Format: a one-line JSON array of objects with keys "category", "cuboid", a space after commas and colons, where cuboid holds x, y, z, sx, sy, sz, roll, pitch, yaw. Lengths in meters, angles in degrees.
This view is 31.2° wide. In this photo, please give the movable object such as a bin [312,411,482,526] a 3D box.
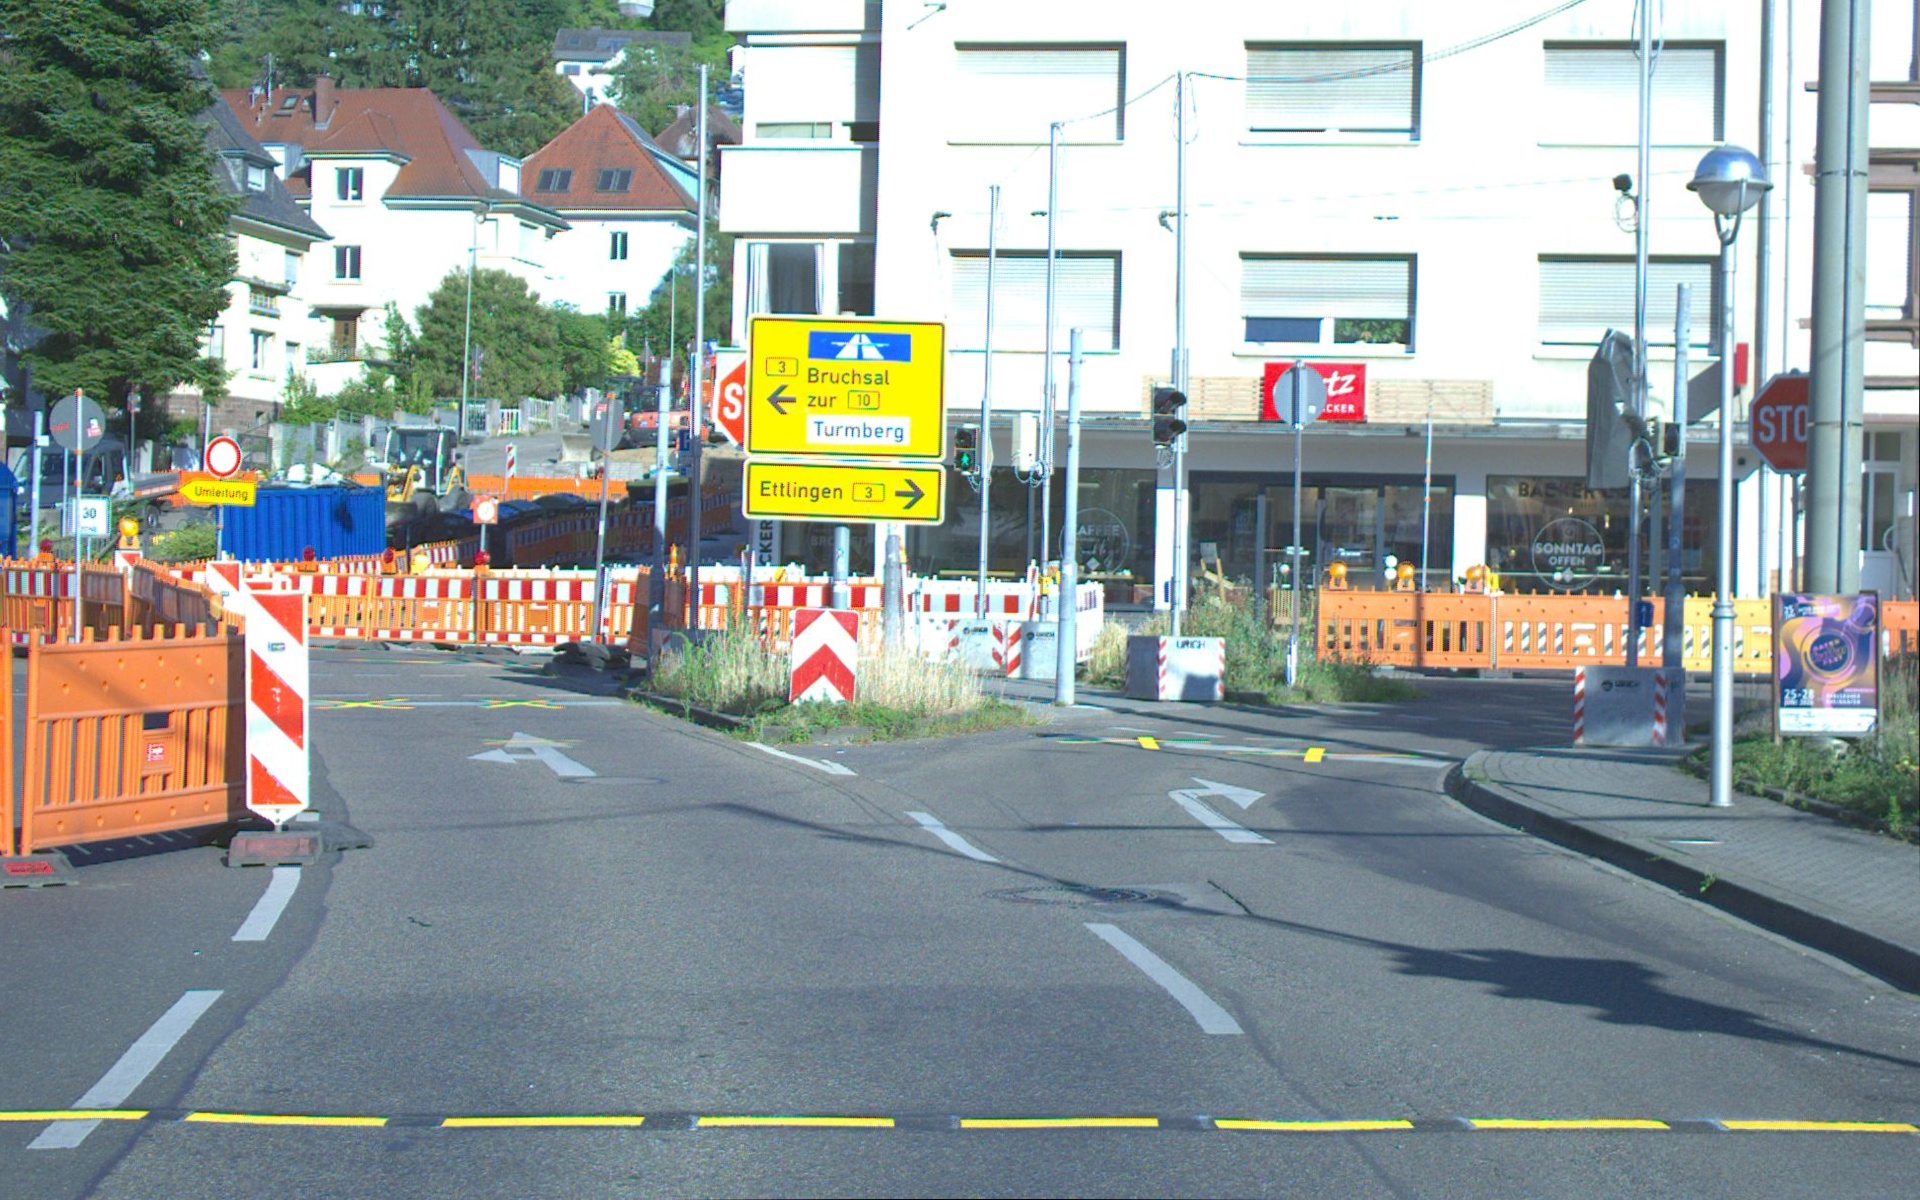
[{"category": "movable object such as a bin", "cuboid": [-12.883, -2.986, 78.946, 1.950, 2.486, 4.547, 1, 1, 18]}]

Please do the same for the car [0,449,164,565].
[{"category": "car", "cuboid": [-18.079, -1.753, 66.158, 2.585, 2.113, 6.145, 1, 1, 18]}]

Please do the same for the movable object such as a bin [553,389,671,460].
[{"category": "movable object such as a bin", "cuboid": [-11.584, -5.835, 114.840, 2.566, 2.114, 5.782, 1, 1, 8]}]
